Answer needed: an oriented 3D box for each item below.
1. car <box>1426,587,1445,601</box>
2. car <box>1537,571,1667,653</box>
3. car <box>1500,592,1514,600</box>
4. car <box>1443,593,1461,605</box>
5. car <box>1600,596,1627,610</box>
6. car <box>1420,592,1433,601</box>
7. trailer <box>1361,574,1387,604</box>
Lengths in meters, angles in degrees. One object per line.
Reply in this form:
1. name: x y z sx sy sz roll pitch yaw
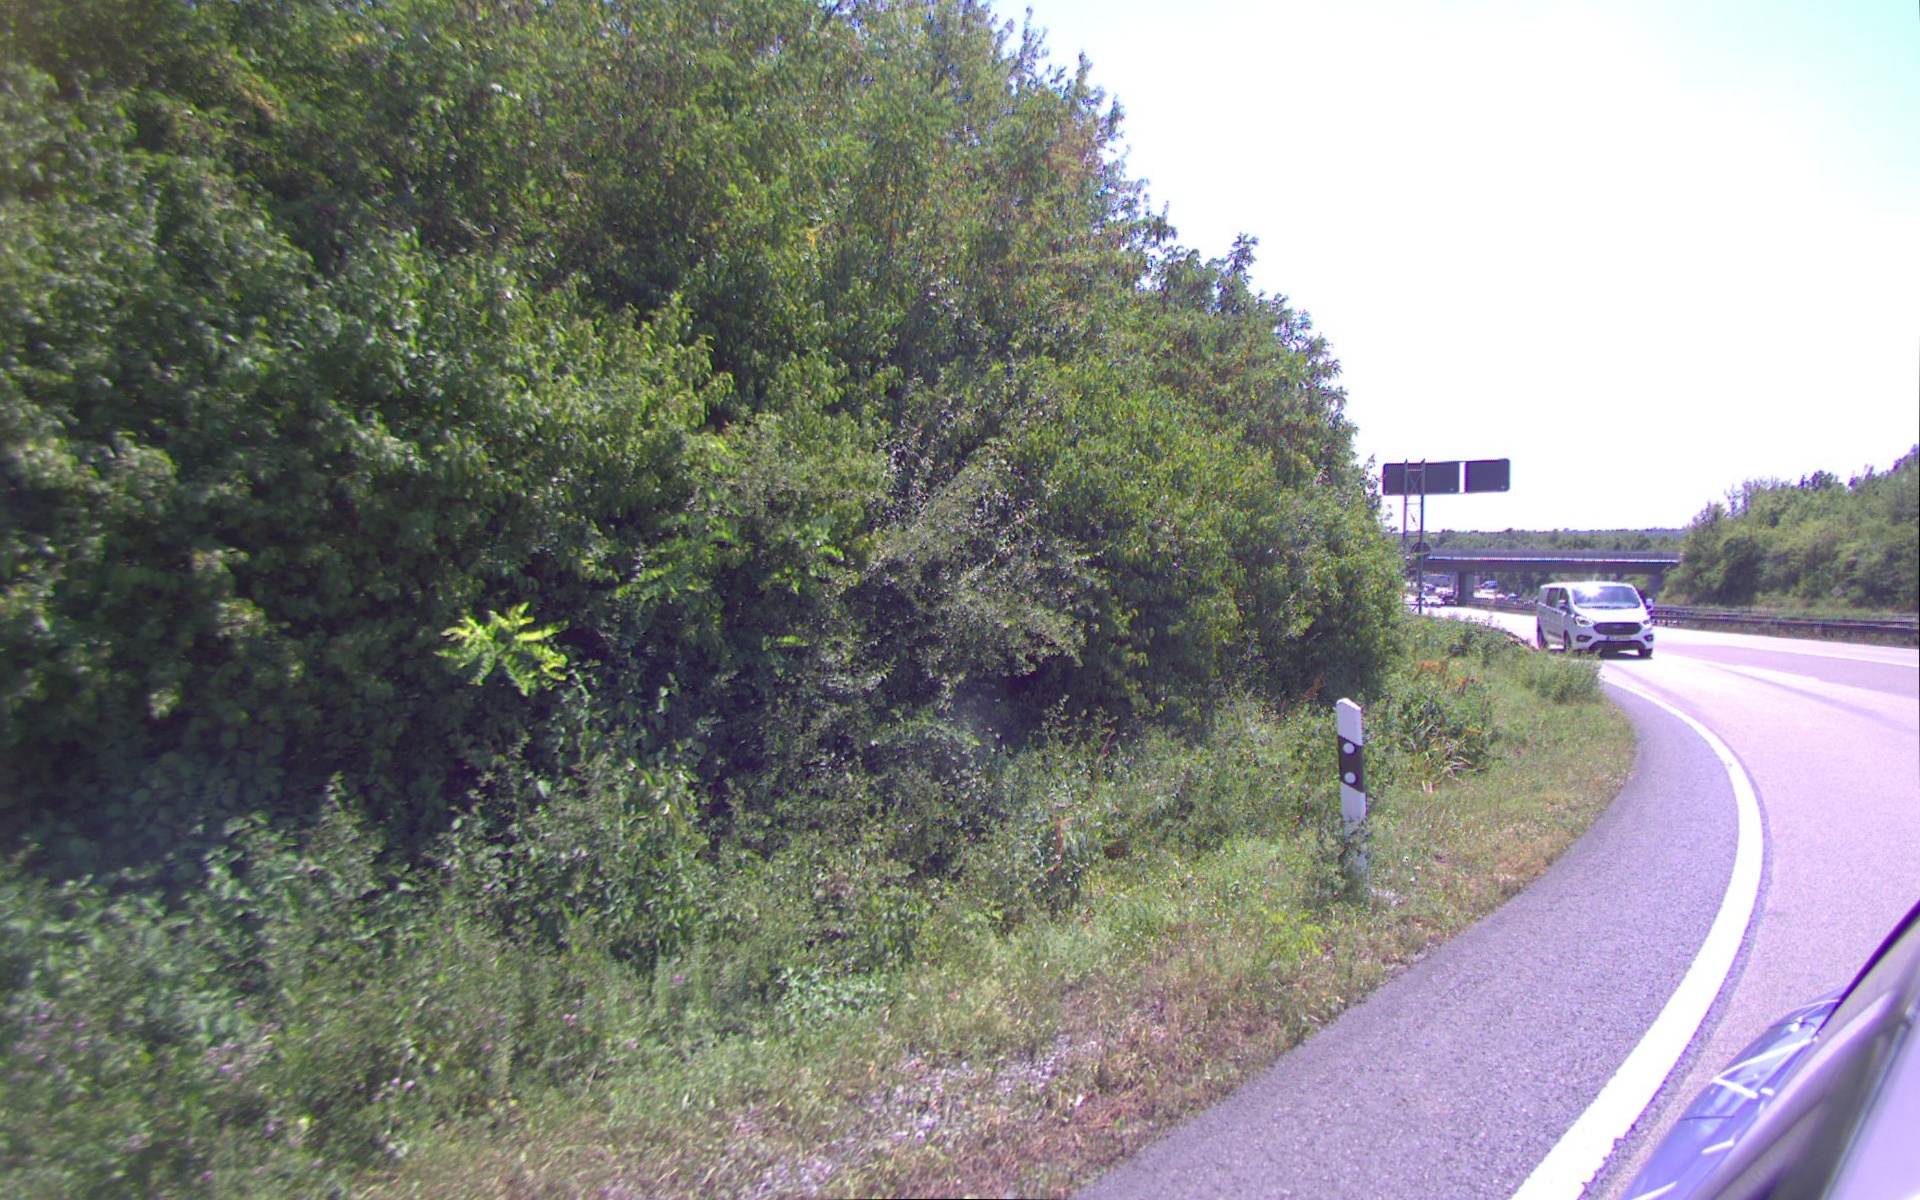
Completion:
1. car: 60.282 -0.754 128.292 1.977 1.652 4.438 0 0 23
2. car: 17.923 0.305 28.512 2.039 2.039 5.006 -2 -1 21
3. car: 103.655 -0.729 191.771 1.737 1.544 4.442 0 0 20
4. car: 69.270 -0.166 142.415 1.977 1.652 4.438 0 0 23
5. car: 75.091 0.330 116.376 1.696 1.588 3.976 0 0 18
6. car: 85.690 -0.691 185.925 1.977 1.652 4.438 0 0 23
7. trailer: 72.091 -1.818 176.511 3.925 5.014 15.884 0 0 22
